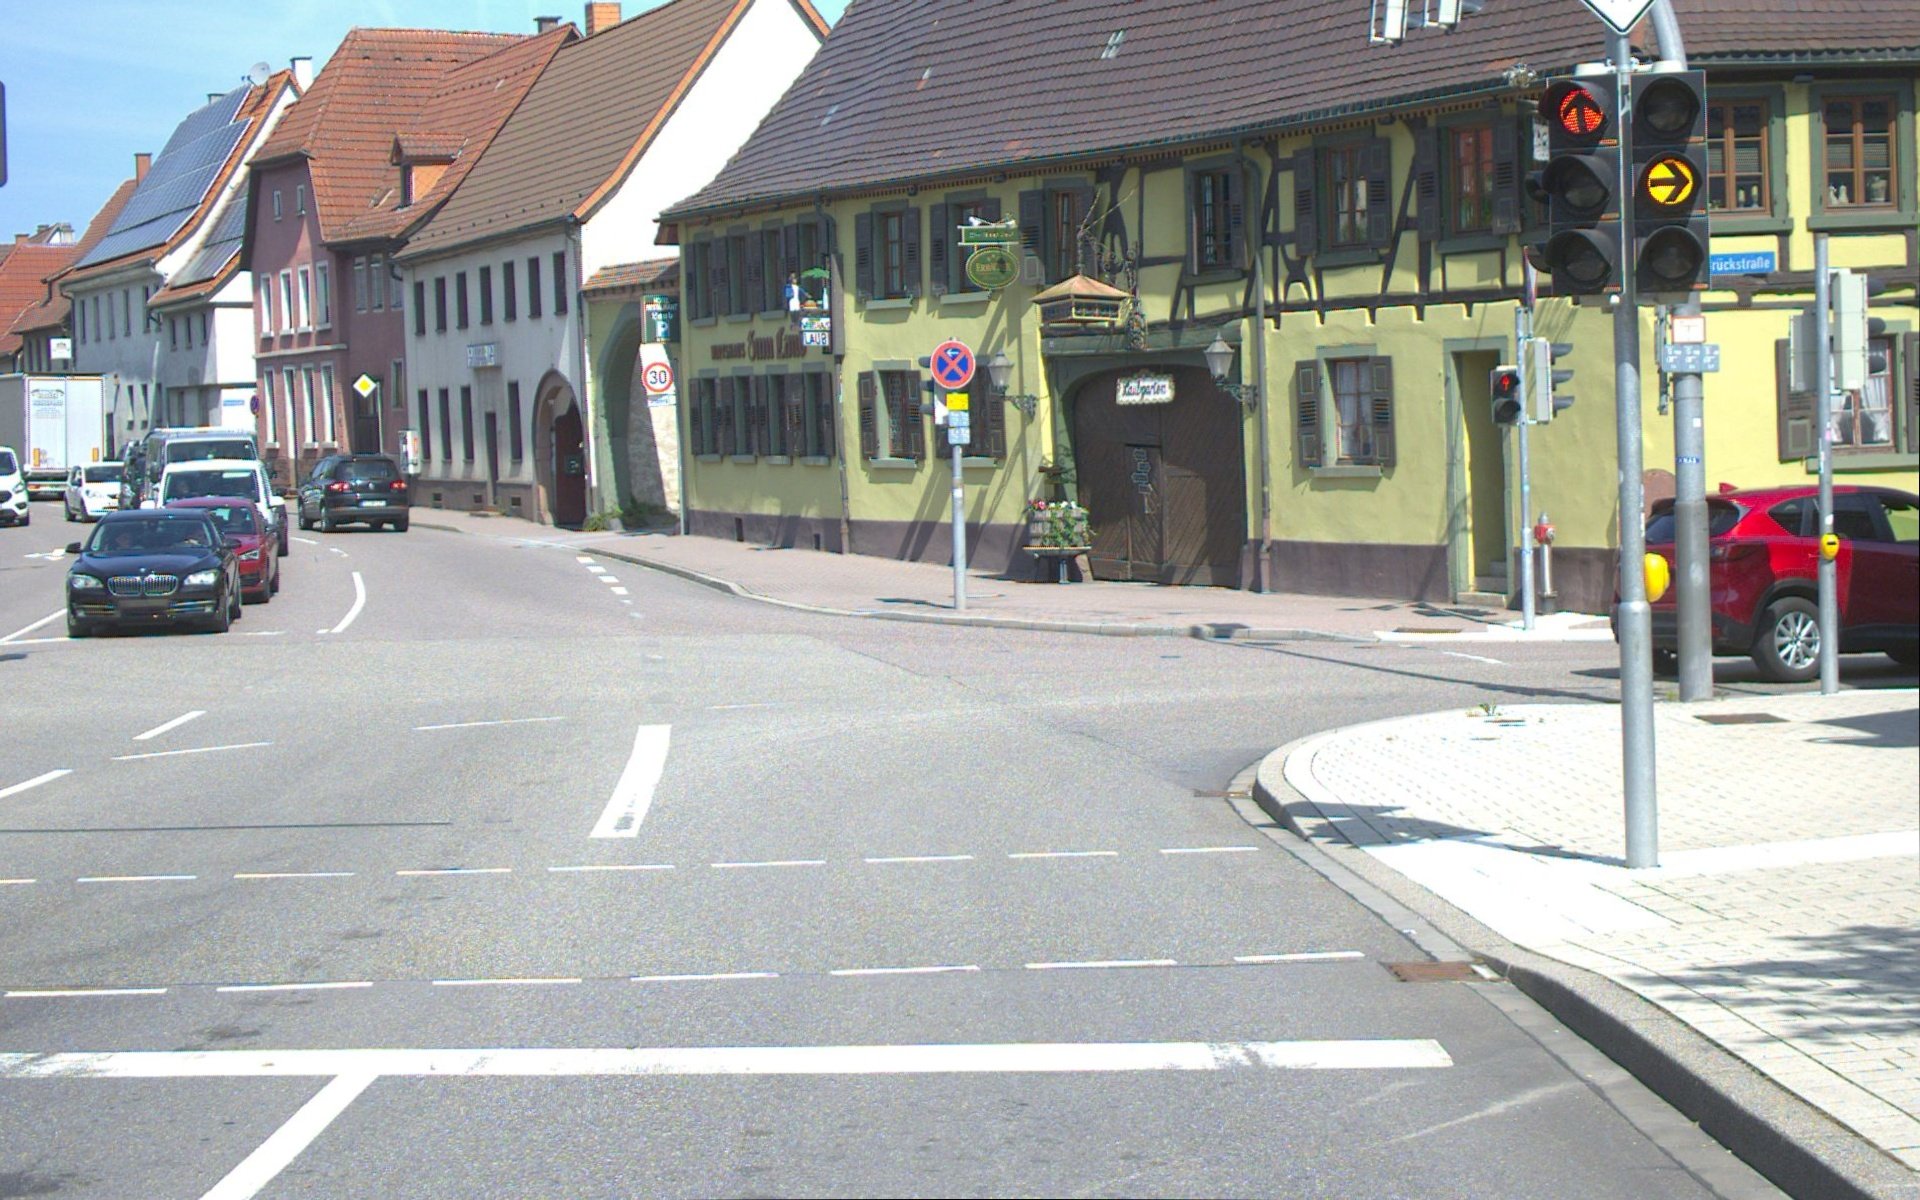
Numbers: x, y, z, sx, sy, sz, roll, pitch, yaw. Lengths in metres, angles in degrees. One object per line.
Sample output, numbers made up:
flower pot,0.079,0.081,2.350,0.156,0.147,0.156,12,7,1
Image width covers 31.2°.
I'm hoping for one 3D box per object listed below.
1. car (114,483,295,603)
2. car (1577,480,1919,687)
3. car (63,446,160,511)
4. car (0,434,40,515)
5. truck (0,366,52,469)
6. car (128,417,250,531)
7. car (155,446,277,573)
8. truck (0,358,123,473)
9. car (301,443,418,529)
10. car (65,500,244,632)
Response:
car,-10.830,-0.867,49.607,2.158,1.510,4.949,-1,3,-8
car,7.450,-0.191,29.729,3.799,1.657,1.811,-2,2,-26
car,-21.259,-3.053,86.033,1.785,1.521,4.007,-3,3,-21
car,-24.515,-3.141,86.581,2.136,1.960,5.280,-3,3,-19
truck,-34.898,-6.352,120.905,3.159,3.448,10.714,0,2,-29
car,-15.800,-2.586,70.319,1.757,2.238,4.554,0,2,-21
car,-12.212,-1.541,56.599,1.820,1.899,4.966,-2,3,-11
truck,-30.104,-5.973,112.092,3.223,3.537,9.232,-1,3,-28
car,-12.962,-2.480,74.044,1.820,1.732,4.007,-3,3,-19
car,-9.907,-0.460,42.550,1.820,1.429,4.250,-2,3,-9
